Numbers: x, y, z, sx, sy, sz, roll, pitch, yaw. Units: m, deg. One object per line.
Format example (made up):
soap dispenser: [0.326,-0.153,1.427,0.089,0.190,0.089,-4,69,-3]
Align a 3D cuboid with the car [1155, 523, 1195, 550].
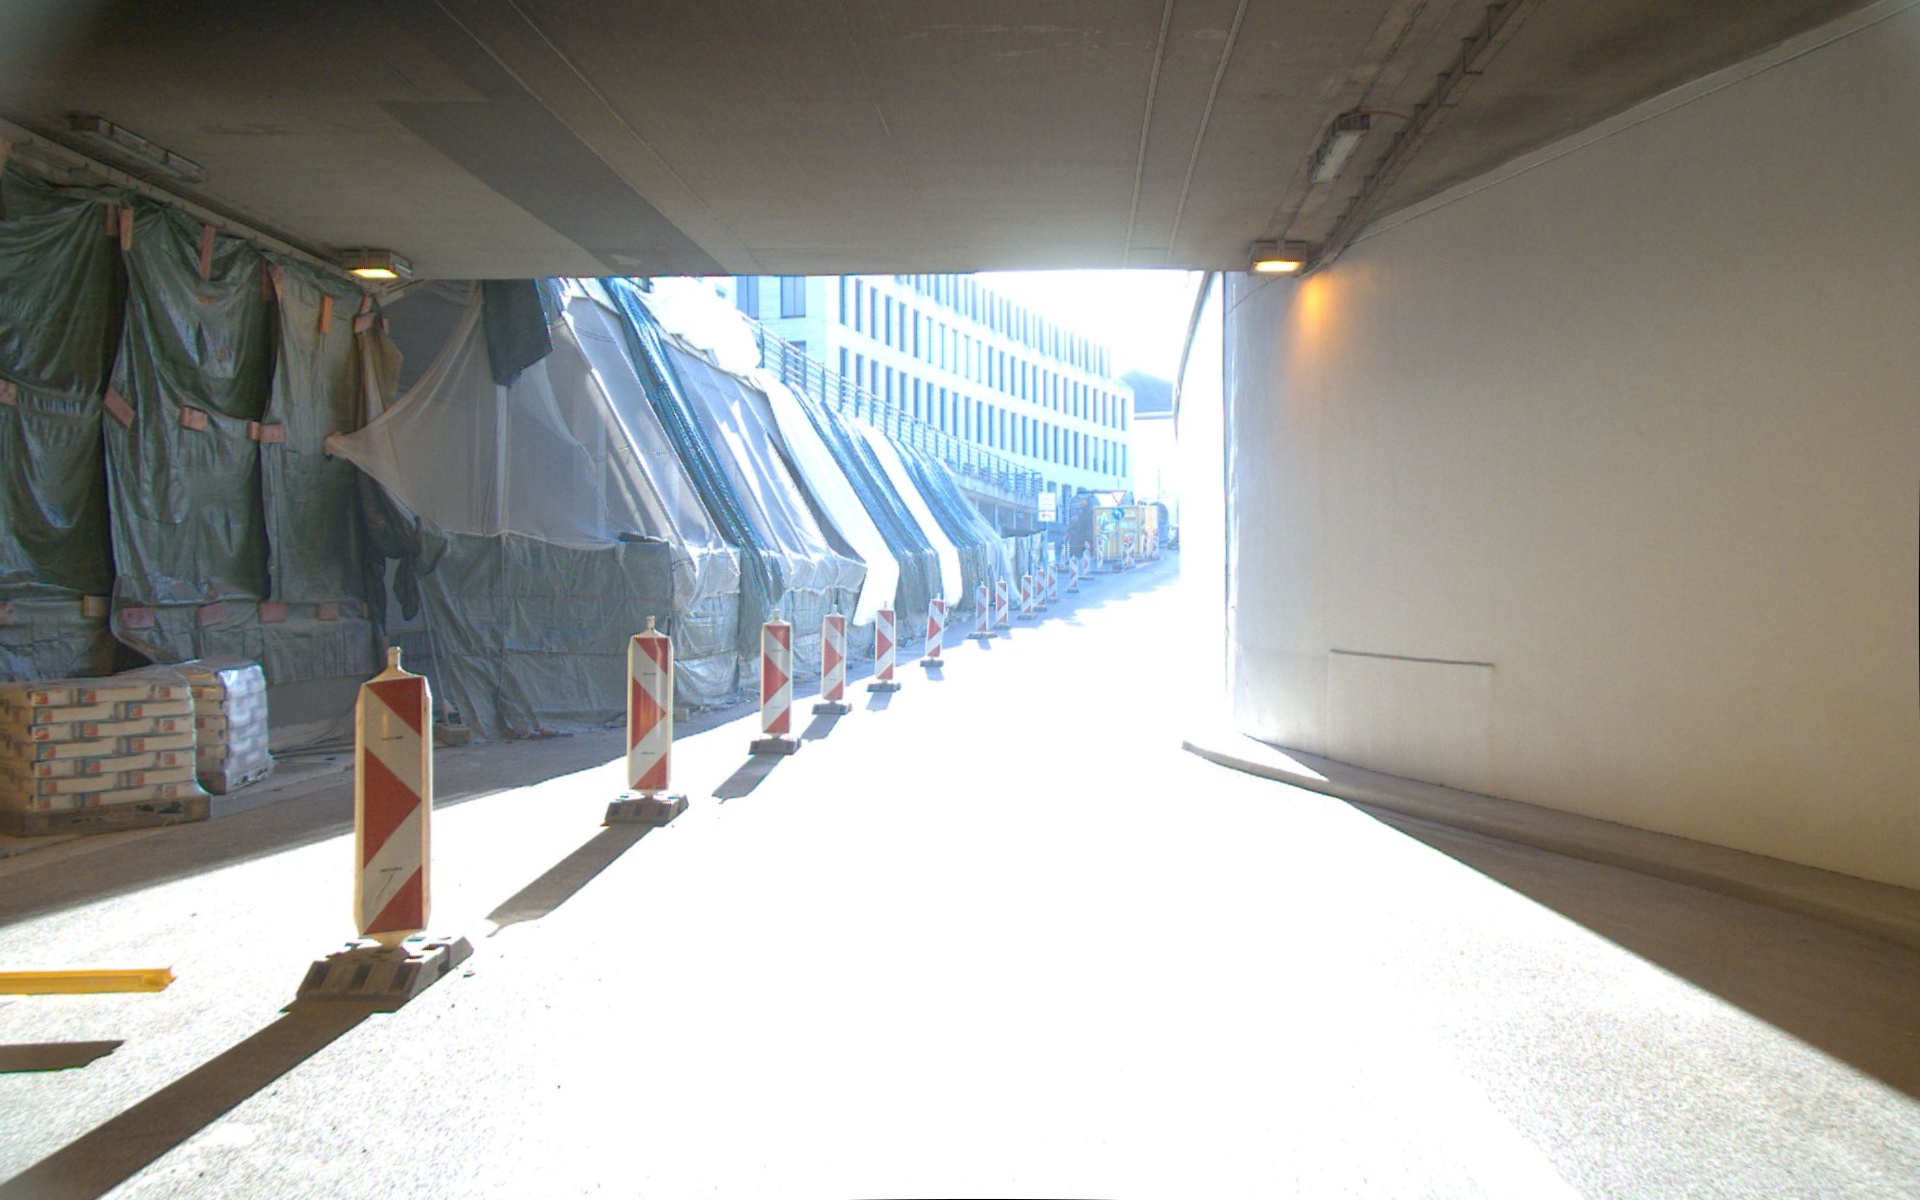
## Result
car: [13.433,-3.964,103.236,1.739,1.632,4.003,1,2,18]

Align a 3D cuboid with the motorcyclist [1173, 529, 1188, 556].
motorcyclist: [12.868,-3.343,96.513,0.787,1.530,0.777,0,2,16]

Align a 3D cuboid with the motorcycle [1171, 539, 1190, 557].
motorcycle: [12.878,-3.041,96.613,0.755,1.010,2.185,0,1,16]
